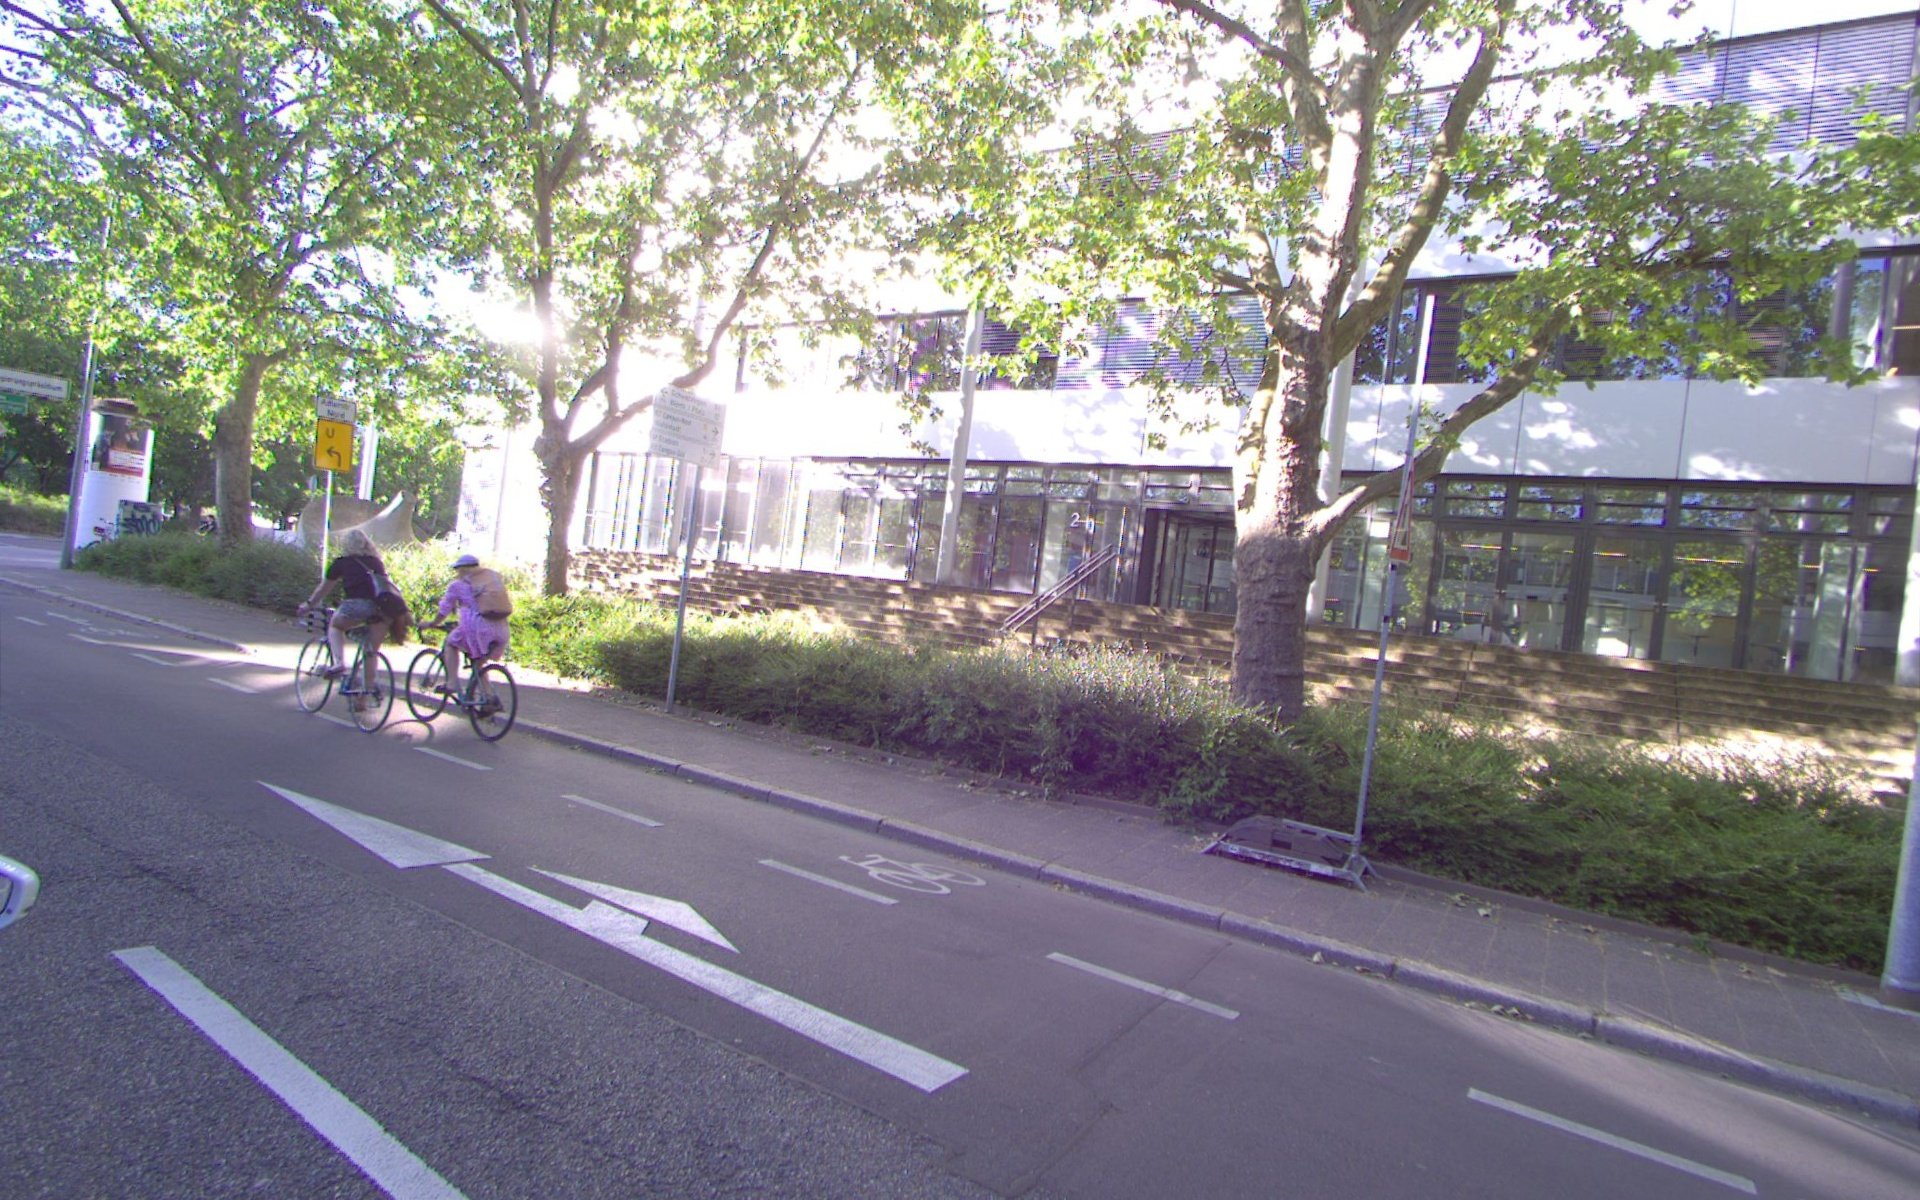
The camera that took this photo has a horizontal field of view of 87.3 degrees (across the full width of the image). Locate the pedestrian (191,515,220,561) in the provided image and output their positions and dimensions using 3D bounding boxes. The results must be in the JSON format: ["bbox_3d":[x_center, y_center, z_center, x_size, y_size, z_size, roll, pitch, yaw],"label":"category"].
[{"bbox_3d":[-31.436,-2.575,41.920,0.620,1.805,0.620,7,0,34],"label":"pedestrian"}]

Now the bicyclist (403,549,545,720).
[{"bbox_3d":[-4.440,0.314,9.191,0.915,1.417,0.602,7,-2,32],"label":"bicyclist"}]

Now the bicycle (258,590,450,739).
[{"bbox_3d":[-5.283,0.542,8.741,1.702,1.038,0.611,7,-2,32],"label":"bicycle"}]

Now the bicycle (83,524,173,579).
[{"bbox_3d":[-19.090,-1.090,23.099,0.529,1.049,1.418,7,-1,28],"label":"bicycle"}]

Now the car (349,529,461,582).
[{"bbox_3d":[-25.872,-2.053,46.968,1.969,1.805,3.998,7,-1,37],"label":"car"}]

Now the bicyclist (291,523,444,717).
[{"bbox_3d":[-5.095,0.175,8.655,0.875,1.533,0.611,7,-2,32],"label":"bicyclist"}]

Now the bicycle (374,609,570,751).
[{"bbox_3d":[-4.472,0.708,9.170,1.850,0.996,0.602,7,-2,32],"label":"bicycle"}]
